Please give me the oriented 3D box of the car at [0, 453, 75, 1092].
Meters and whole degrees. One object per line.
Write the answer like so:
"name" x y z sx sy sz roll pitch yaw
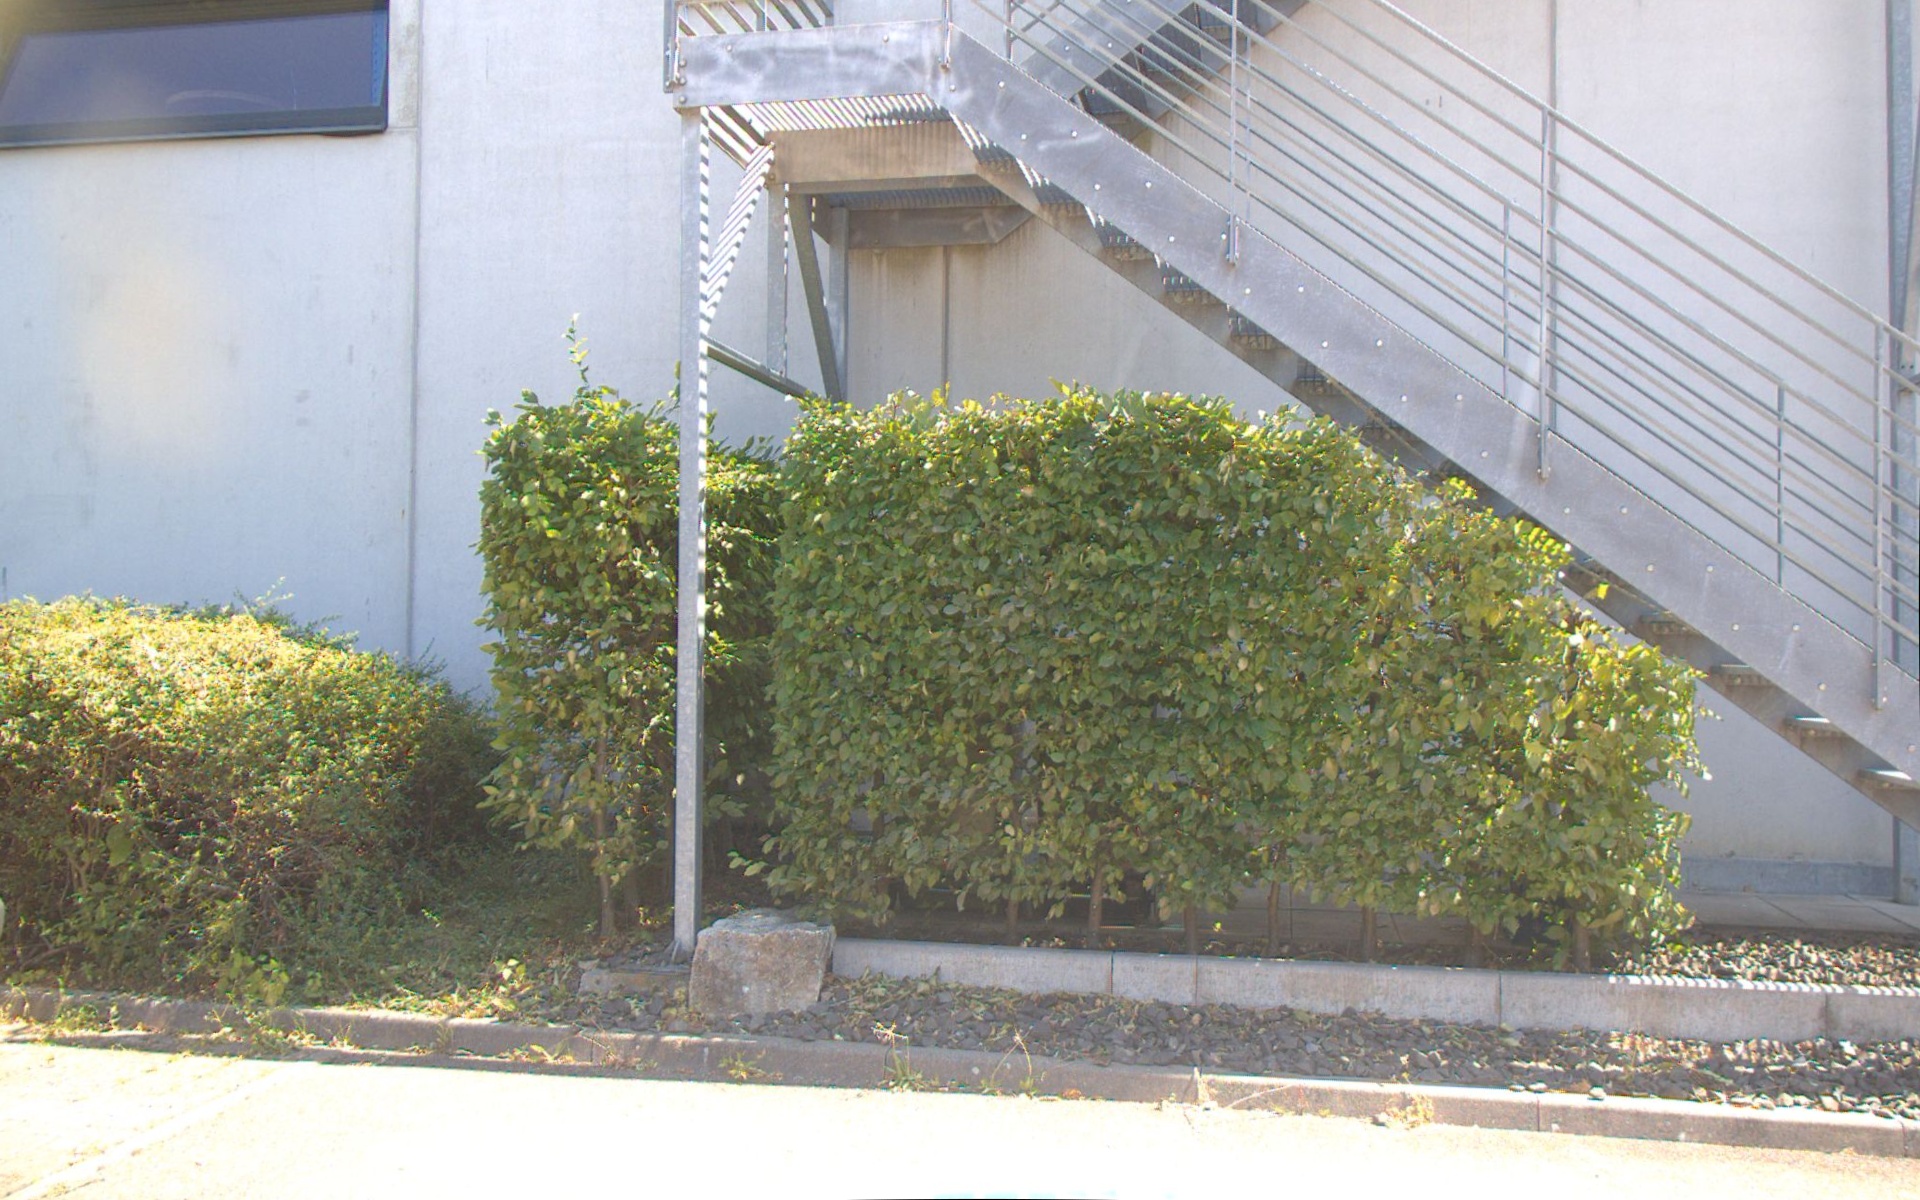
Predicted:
"car" -4.932 0.497 4.819 3.971 1.917 1.680 0 0 12
